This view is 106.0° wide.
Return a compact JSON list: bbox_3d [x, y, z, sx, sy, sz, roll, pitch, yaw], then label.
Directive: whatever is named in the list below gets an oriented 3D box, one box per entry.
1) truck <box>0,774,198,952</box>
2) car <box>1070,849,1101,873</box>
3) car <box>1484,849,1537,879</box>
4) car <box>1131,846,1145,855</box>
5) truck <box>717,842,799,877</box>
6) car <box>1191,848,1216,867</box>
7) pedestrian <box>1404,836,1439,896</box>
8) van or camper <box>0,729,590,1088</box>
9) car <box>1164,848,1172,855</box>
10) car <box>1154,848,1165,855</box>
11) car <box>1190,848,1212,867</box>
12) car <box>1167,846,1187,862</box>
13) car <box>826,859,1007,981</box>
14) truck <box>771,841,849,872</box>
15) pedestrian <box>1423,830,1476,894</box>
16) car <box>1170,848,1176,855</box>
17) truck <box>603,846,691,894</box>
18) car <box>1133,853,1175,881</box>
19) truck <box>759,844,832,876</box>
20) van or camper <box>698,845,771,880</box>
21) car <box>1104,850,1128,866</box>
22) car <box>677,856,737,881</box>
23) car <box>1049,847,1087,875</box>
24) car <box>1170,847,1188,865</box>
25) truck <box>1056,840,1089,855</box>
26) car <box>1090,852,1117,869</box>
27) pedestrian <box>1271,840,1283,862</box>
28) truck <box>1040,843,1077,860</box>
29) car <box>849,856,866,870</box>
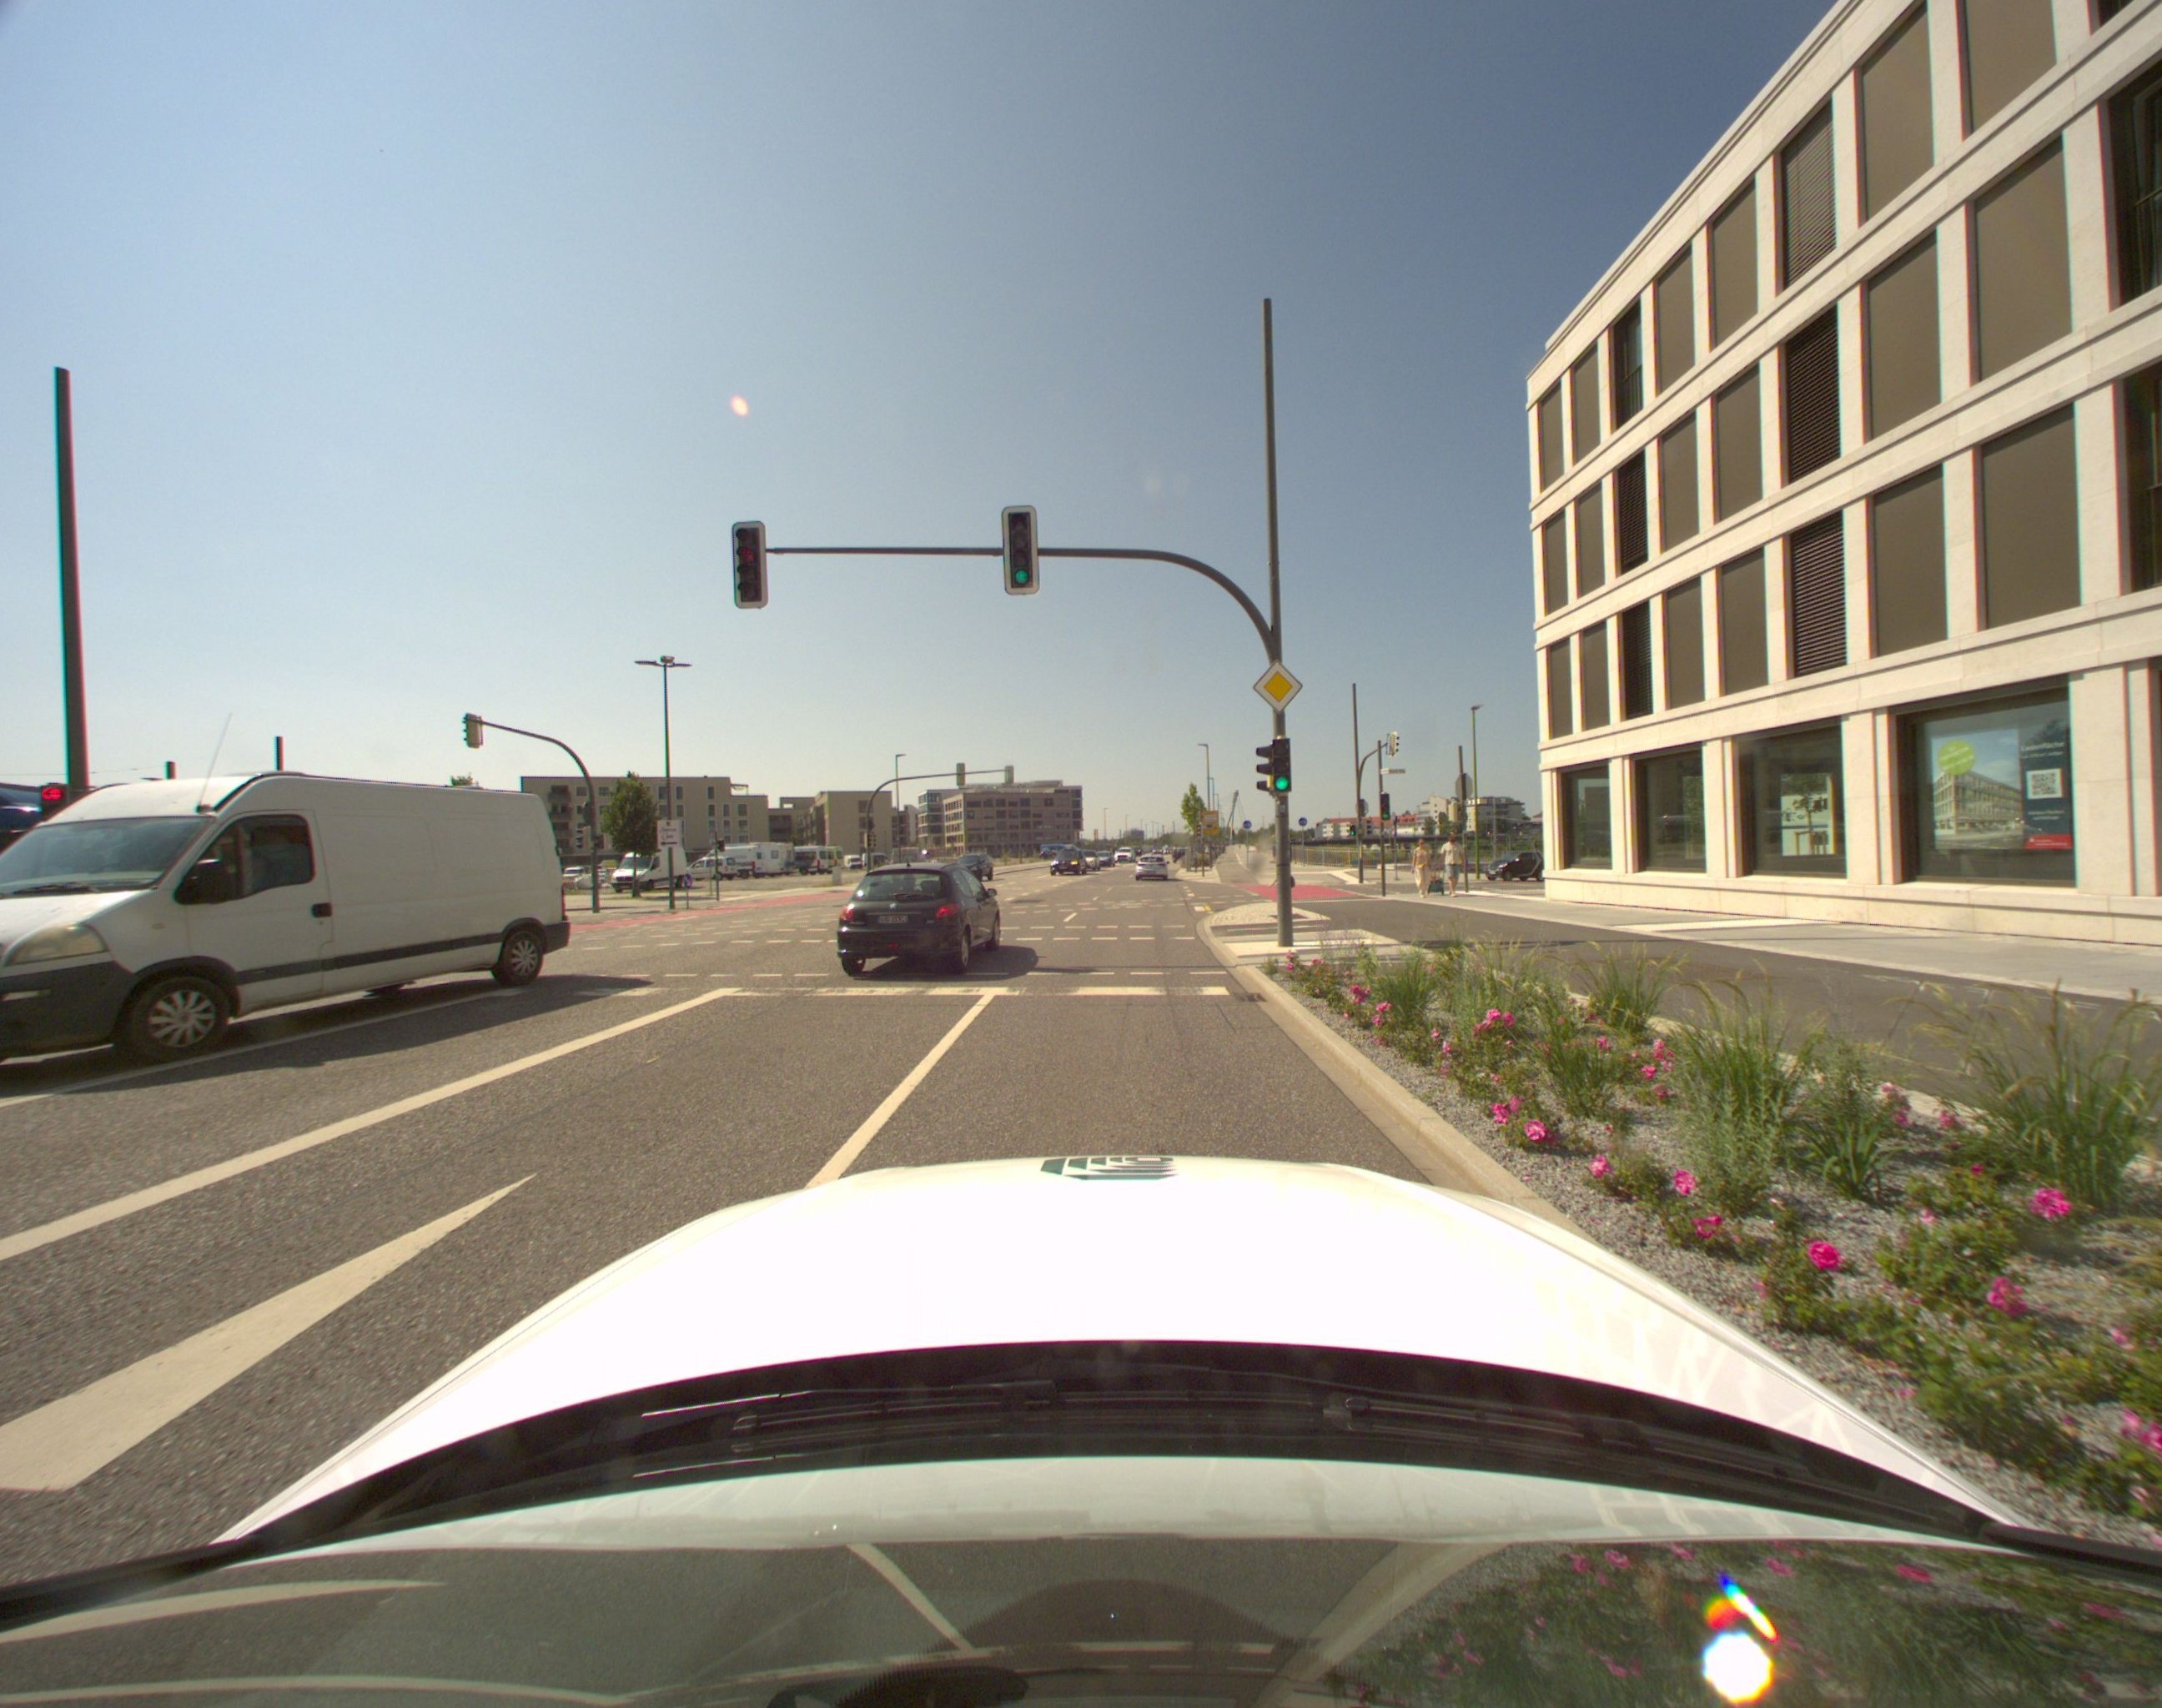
[{"bbox_3d":[-29.185,0.240,19.688,10.936,4.067,3.293,0,-1,-8],"label":"truck"},{"bbox_3d":[0.400,0.512,64.906,1.768,1.682,4.108,-4,1,8],"label":"car"},{"bbox_3d":[22.351,0.516,42.336,3.388,1.464,1.441,0,-1,-44],"label":"car"},{"bbox_3d":[9.030,-0.510,129.689,1.786,1.415,3.801,-1,-1,10],"label":"car"},{"bbox_3d":[-27.857,0.489,70.400,6.106,2.901,2.578,0,-1,11],"label":"truck"},{"bbox_3d":[10.696,0.300,70.959,1.981,1.519,4.012,-2,0,10],"label":"car"},{"bbox_3d":[9.876,0.350,23.645,0.697,1.723,0.797,0,-1,3],"label":"pedestrian"},{"bbox_3d":[-8.050,0.427,8.388,2.143,2.414,5.687,-4,0,3],"label":"van or camper"},{"bbox_3d":[20.017,-0.538,186.761,1.784,1.416,4.007,0,-1,6],"label":"car"},{"bbox_3d":[15.601,-0.477,161.914,1.882,1.415,3.608,-1,-1,10],"label":"car"},{"bbox_3d":[11.414,0.325,77.397,1.861,1.627,4.889,-2,0,10],"label":"car"},{"bbox_3d":[10.150,0.018,85.824,1.766,1.569,4.013,-1,-1,12],"label":"car"},{"bbox_3d":[-2.181,0.819,11.792,1.612,1.416,3.731,-2,0,3],"label":"car"},{"bbox_3d":[-26.076,0.192,78.504,6.592,2.825,2.611,-1,1,11],"label":"truck"},{"bbox_3d":[10.976,0.236,24.324,0.874,1.826,1.666,-1,0,3],"label":"pedestrian"},{"bbox_3d":[23.284,-0.620,205.653,1.571,1.563,3.680,0,-1,6],"label":"car"},{"bbox_3d":[-26.119,0.923,49.275,2.160,2.655,5.942,-2,0,-2],"label":"truck"},{"bbox_3d":[4.229,0.700,46.525,1.765,1.442,4.015,-2,0,13],"label":"car"},{"bbox_3d":[-26.308,0.560,75.138,5.798,2.824,2.578,0,-1,11],"label":"truck"},{"bbox_3d":[-28.098,0.662,66.119,4.869,2.661,2.266,-1,1,10],"label":"van or camper"},{"bbox_3d":[3.789,0.424,86.942,1.901,1.650,4.744,-2,0,11],"label":"car"},{"bbox_3d":[-28.645,1.111,62.421,3.845,1.758,1.660,-1,1,6],"label":"car"},{"bbox_3d":[-0.851,0.457,56.540,1.928,1.788,4.666,-2,0,8],"label":"car"},{"bbox_3d":[10.341,0.180,86.143,1.783,1.750,4.008,-2,0,7],"label":"car"},{"bbox_3d":[-1.459,-1.136,146.833,5.534,2.362,2.281,-3,0,8],"label":"truck"},{"bbox_3d":[2.104,0.553,75.037,1.775,1.421,4.294,-2,0,10],"label":"car"},{"bbox_3d":[15.264,-0.225,63.513,0.746,1.609,0.952,-5,0,10],"label":"pedestrian"},{"bbox_3d":[-3.902,-0.417,140.003,5.970,2.543,2.280,-3,0,8],"label":"truck"},{"bbox_3d":[-37.162,1.520,135.464,2.003,2.240,3.967,-1,1,-25],"label":"car"}]
